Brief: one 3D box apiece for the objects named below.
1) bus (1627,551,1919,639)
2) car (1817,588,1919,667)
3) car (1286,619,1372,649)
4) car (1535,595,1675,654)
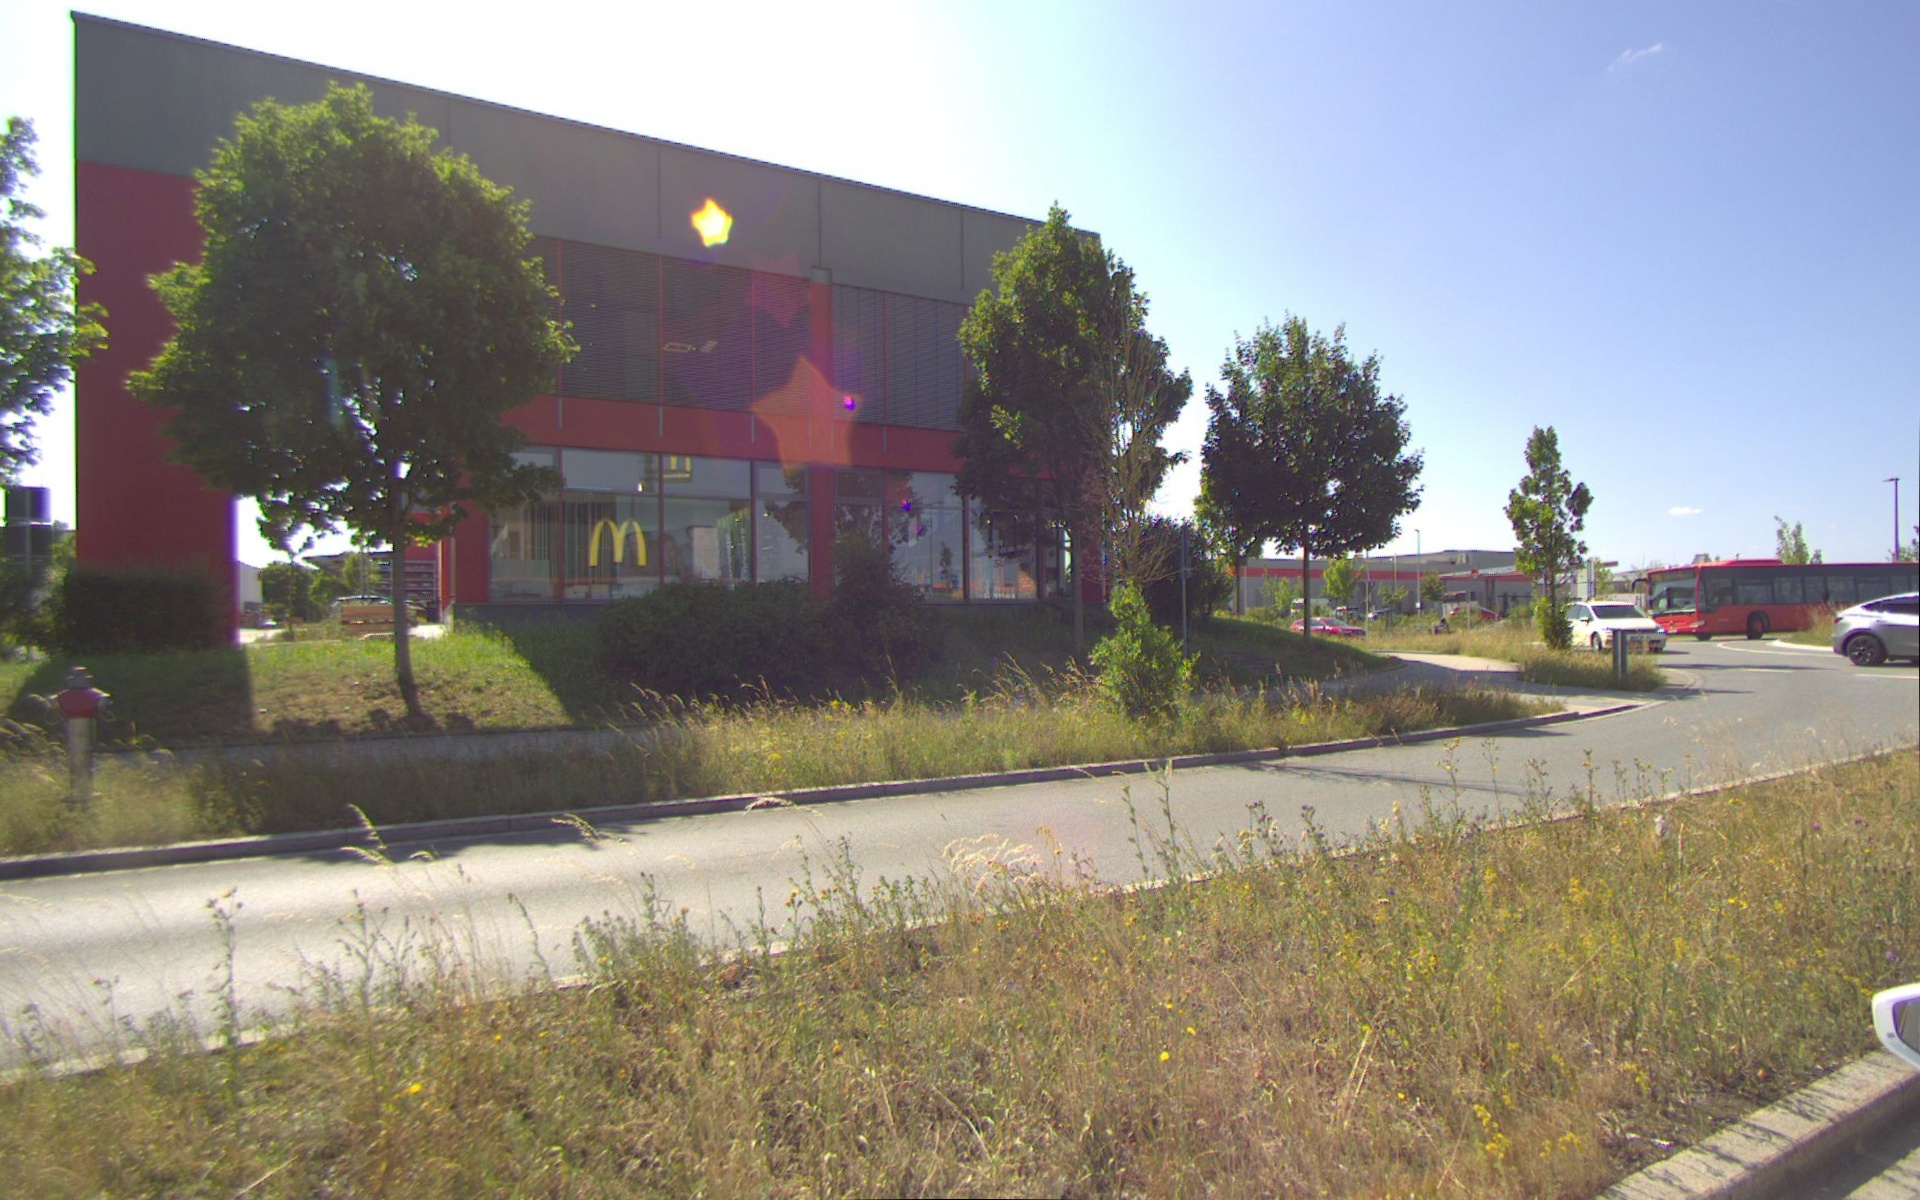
[{"bbox_3d":[33.577,-0.227,41.033,11.986,3.120,2.791,-2,-1,-11],"label":"bus"},{"bbox_3d":[21.124,0.556,21.011,1.930,1.648,4.613,-2,0,-13],"label":"car"},{"bbox_3d":[18.139,1.664,49.551,1.553,1.405,3.973,0,-1,-27],"label":"car"},{"bbox_3d":[20.455,0.798,32.109,1.810,1.687,4.593,-2,-2,6],"label":"car"}]
